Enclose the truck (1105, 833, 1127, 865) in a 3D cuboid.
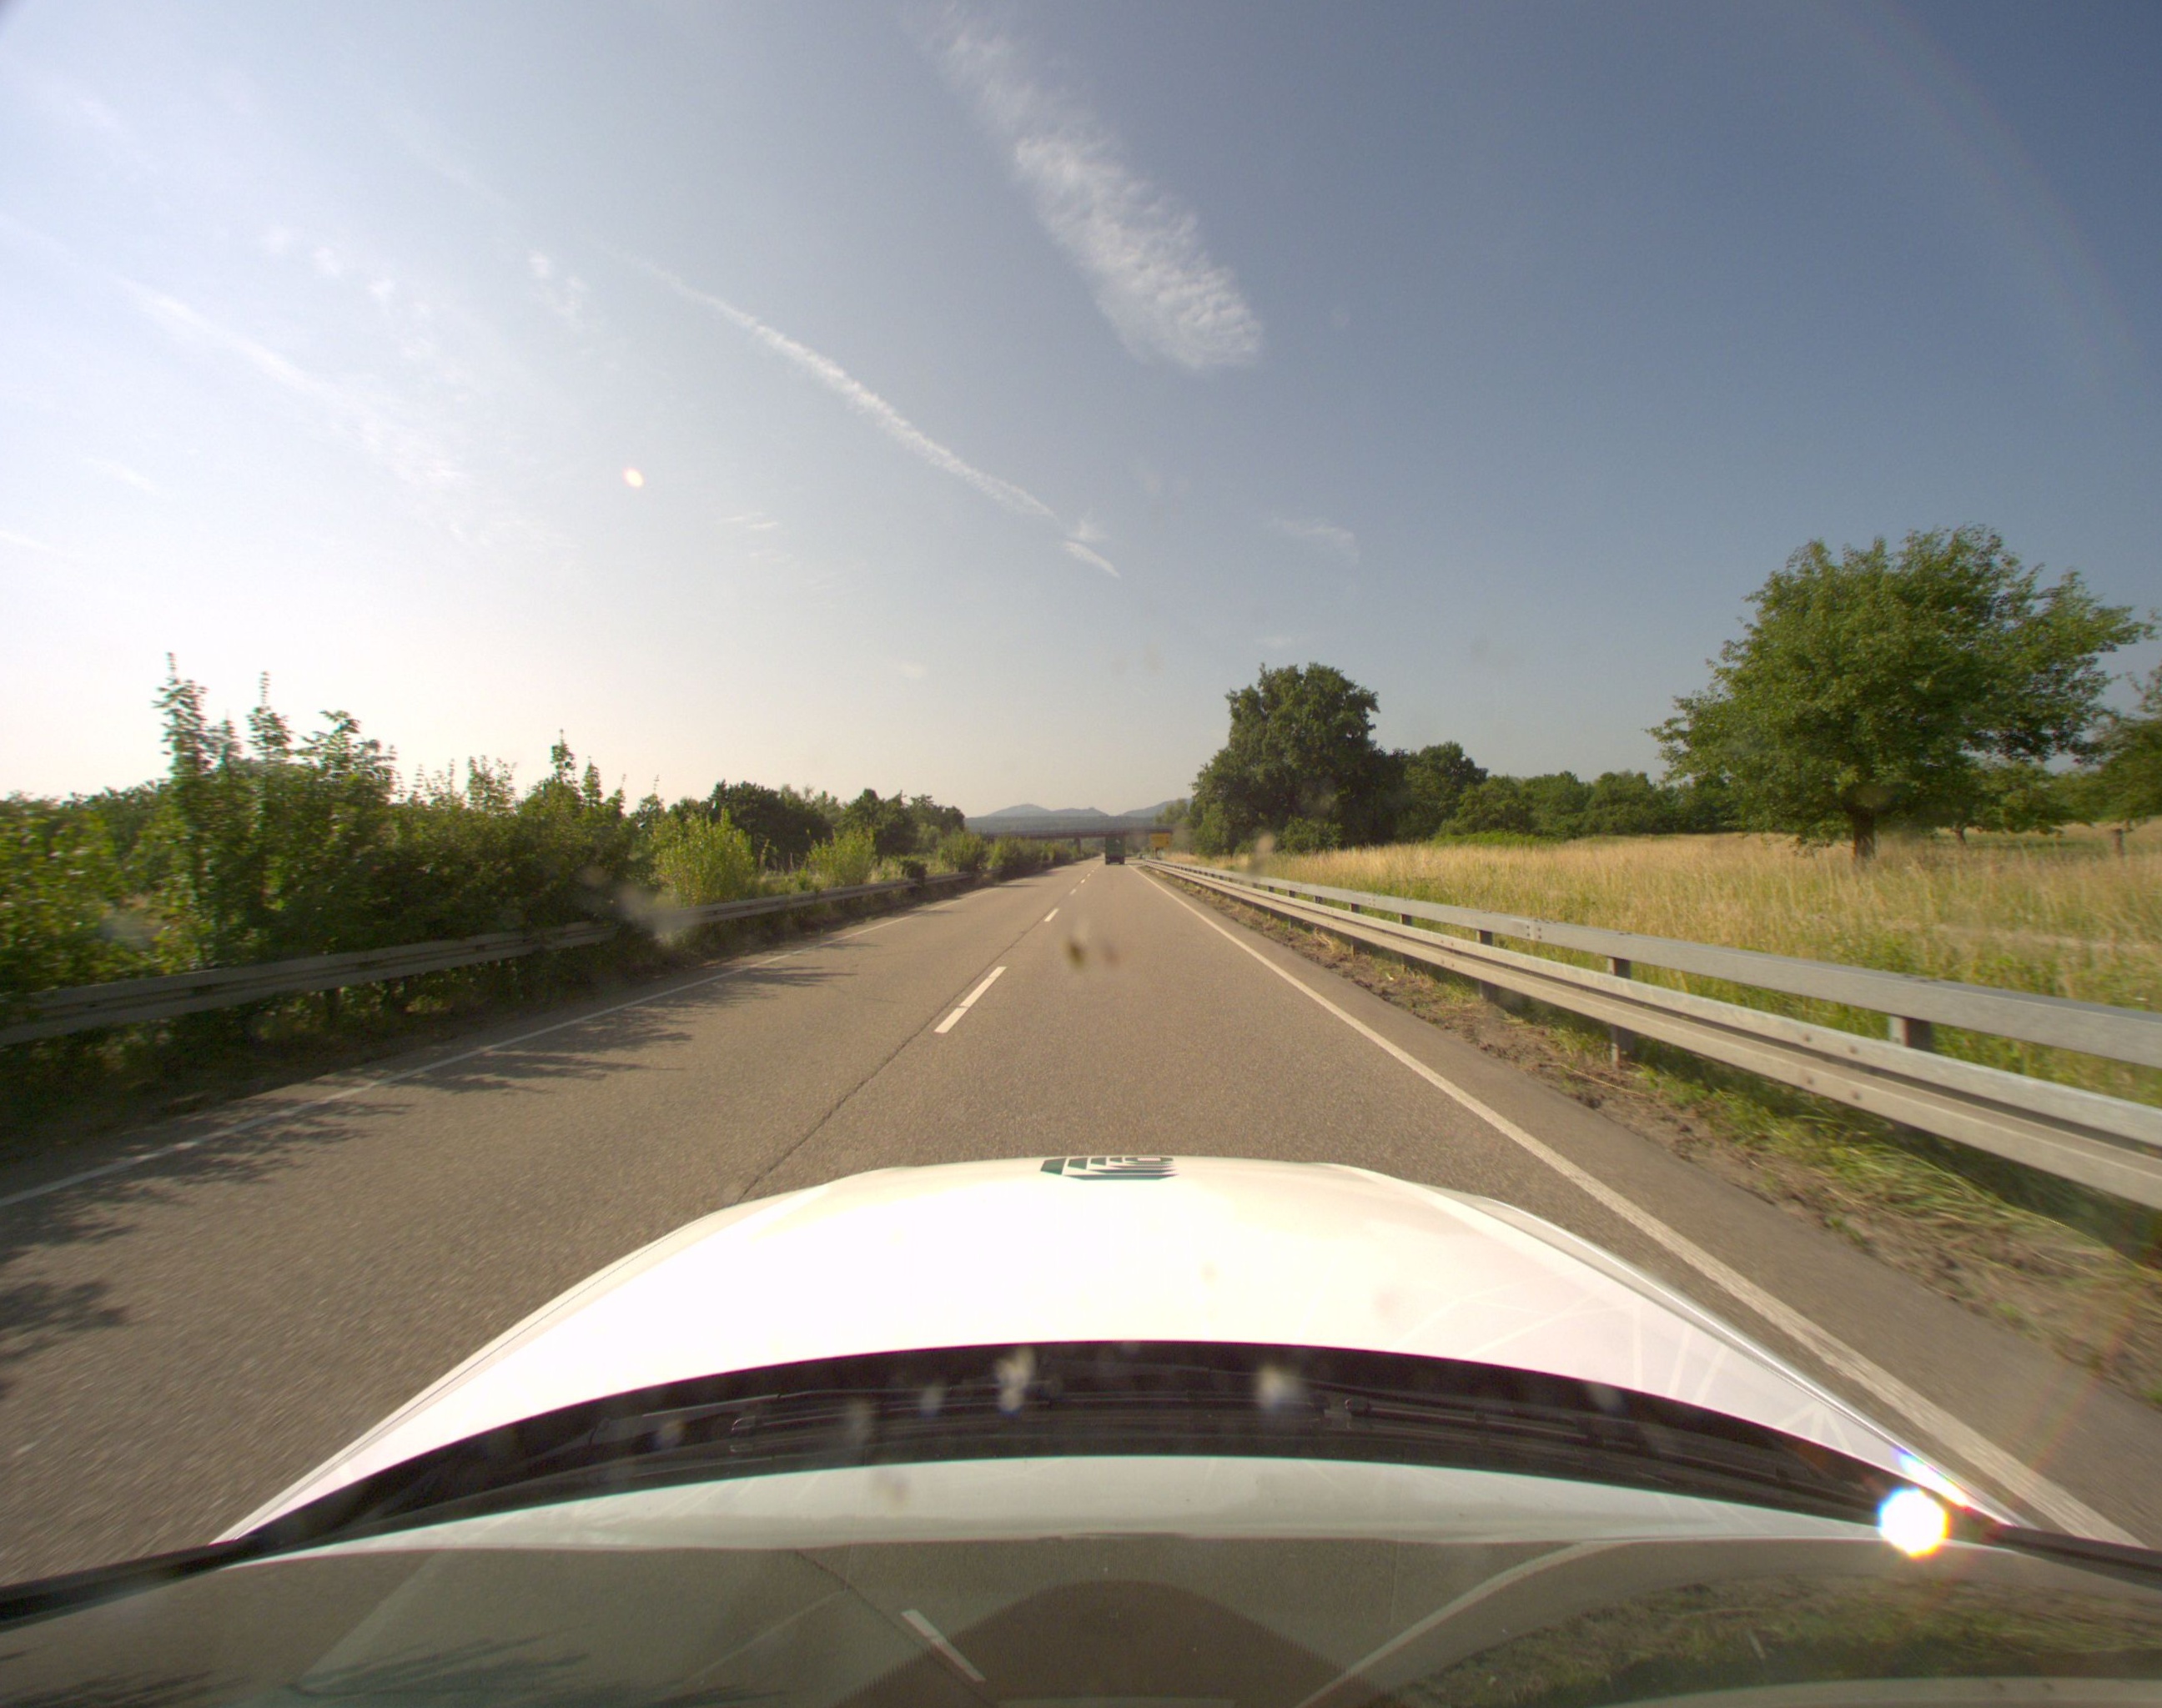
[{"bbox_3d":[4.578,-0.787,106.798,2.711,3.965,10.423,0,1,3],"label":"truck"}]
